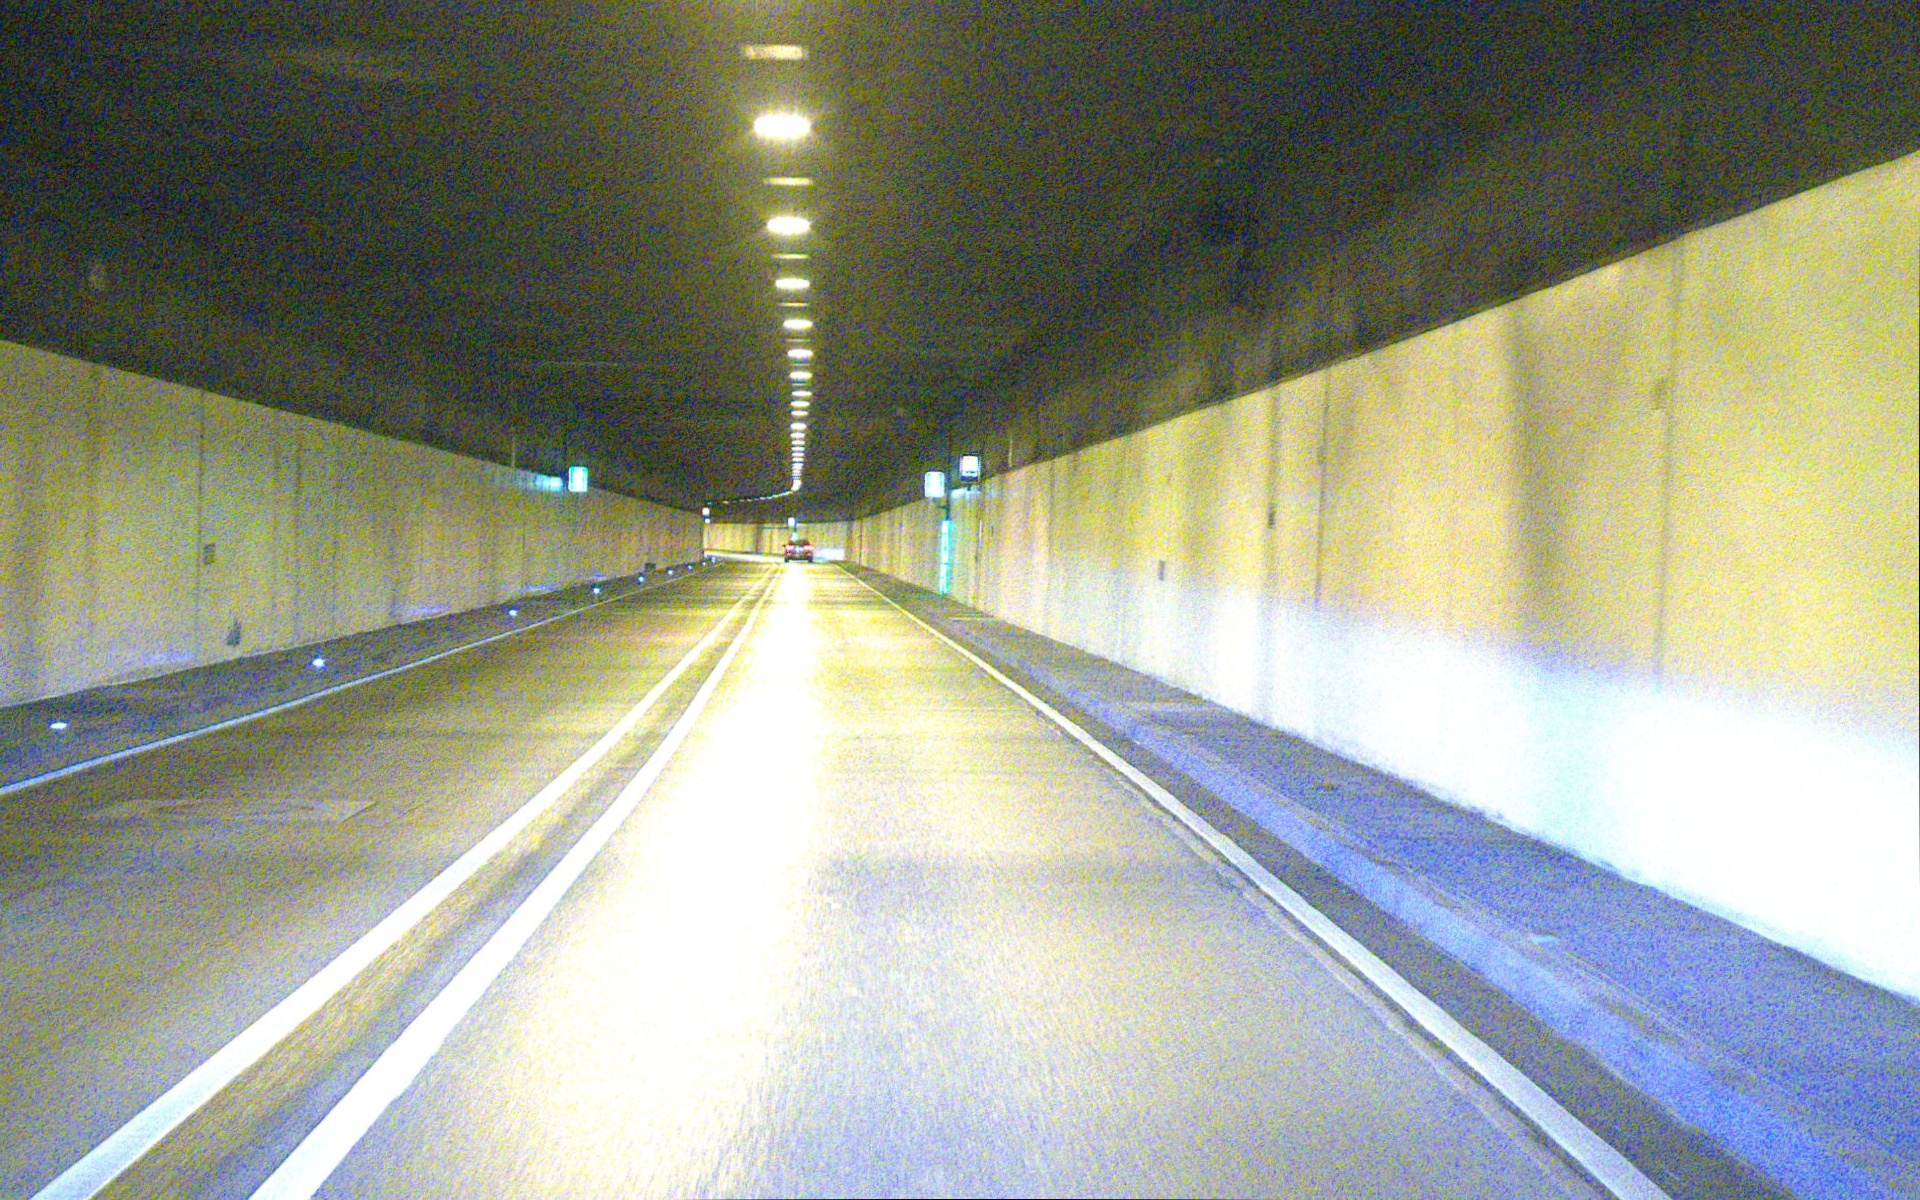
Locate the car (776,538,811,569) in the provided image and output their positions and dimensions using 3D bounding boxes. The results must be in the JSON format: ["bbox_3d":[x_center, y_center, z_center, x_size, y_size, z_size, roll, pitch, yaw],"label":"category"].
[{"bbox_3d":[-11.031,-3.061,227.715,1.966,1.932,4.613,1,0,-7],"label":"car"}]
